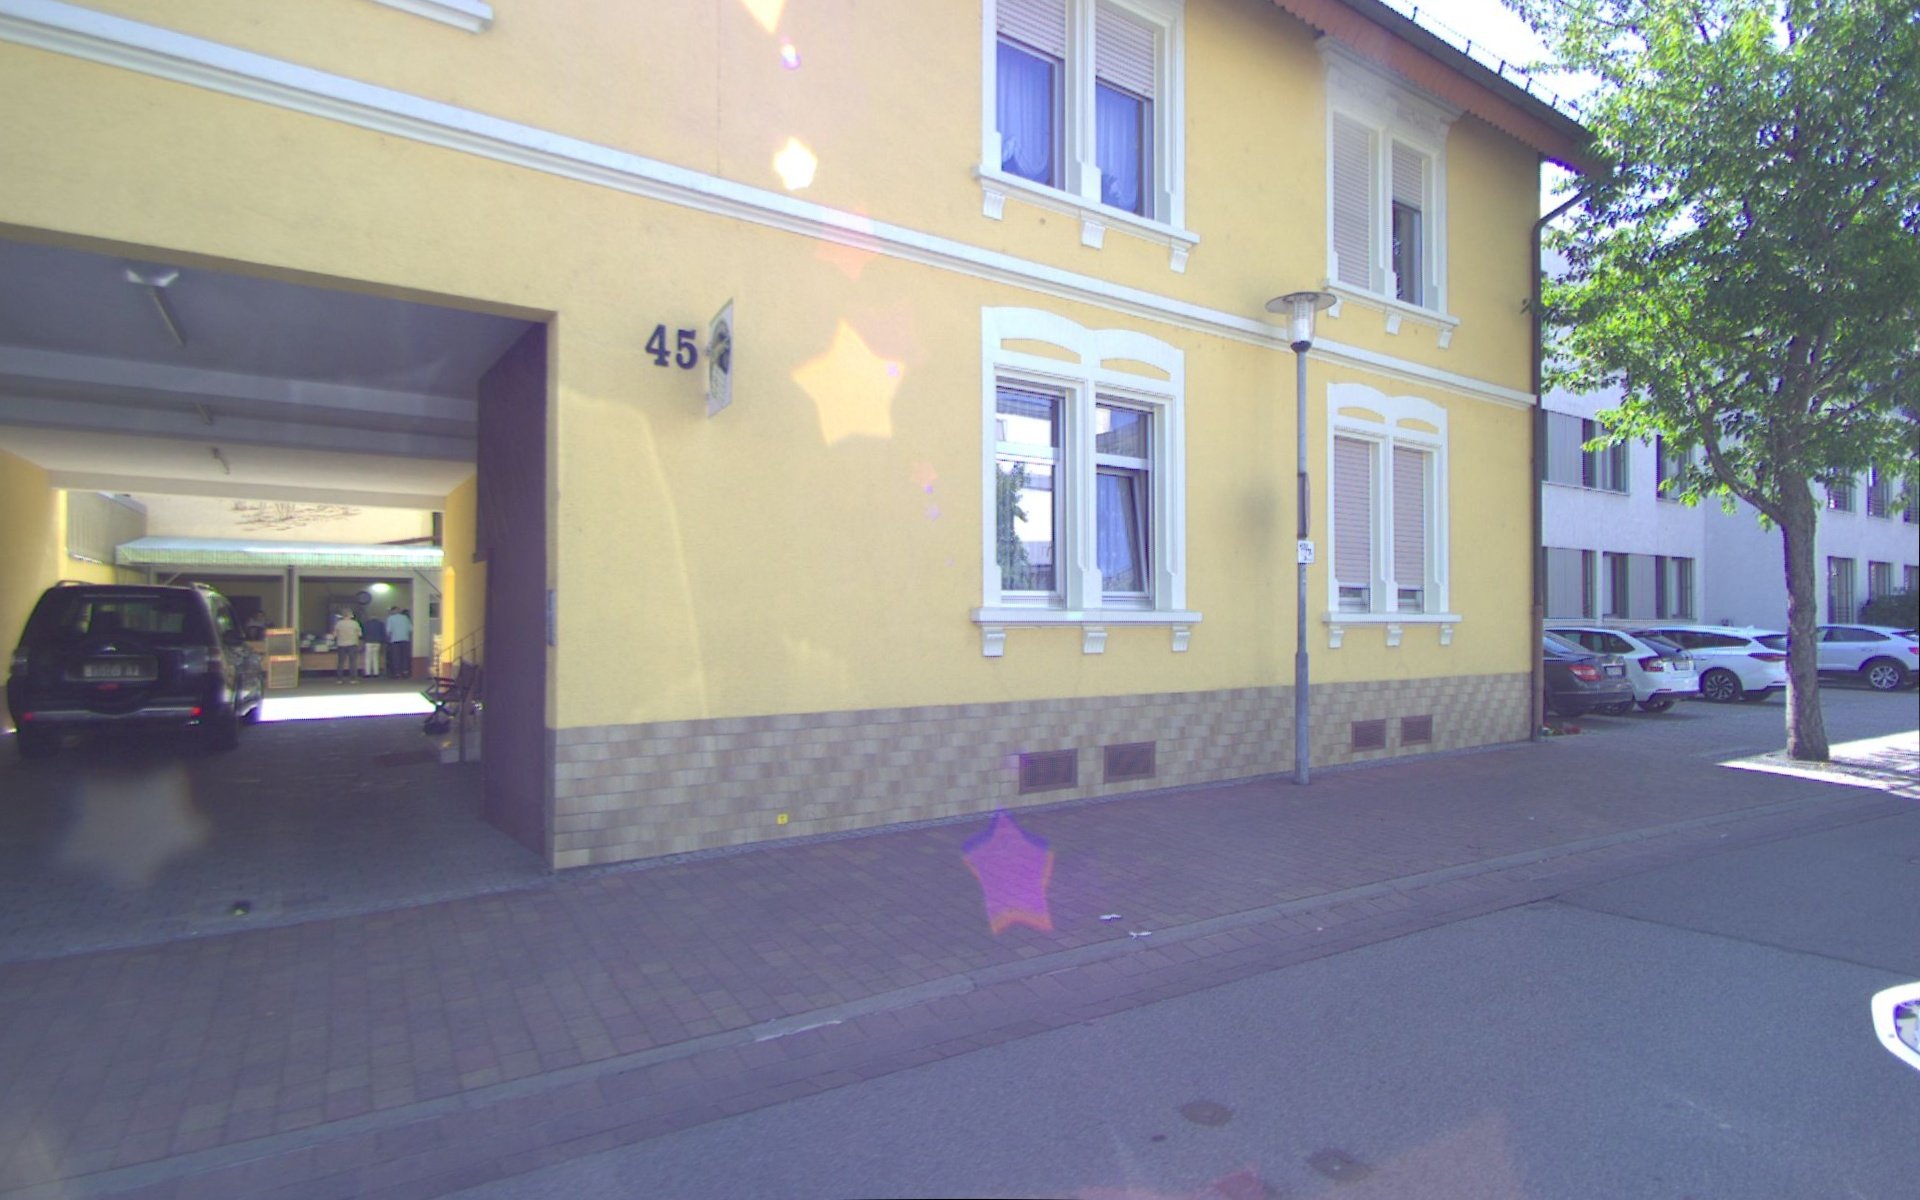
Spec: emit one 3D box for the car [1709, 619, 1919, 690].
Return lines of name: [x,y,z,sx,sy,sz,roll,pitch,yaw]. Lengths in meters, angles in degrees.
car: [21.950,1.311,25.333,2.125,1.575,4.480,1,-1,-33]

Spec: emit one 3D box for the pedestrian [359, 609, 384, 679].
pedestrian: [-14.126,1.057,24.118,0.496,1.648,0.440,1,-1,-31]

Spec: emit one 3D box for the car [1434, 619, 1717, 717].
car: [10.853,1.108,17.973,1.788,1.470,3.963,0,0,-33]

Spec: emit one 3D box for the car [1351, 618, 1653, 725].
car: [8.797,1.061,16.593,1.953,1.450,3.959,0,0,-36]

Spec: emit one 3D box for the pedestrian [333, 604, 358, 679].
pedestrian: [-13.639,0.914,22.300,0.443,1.648,0.440,1,-1,-31]

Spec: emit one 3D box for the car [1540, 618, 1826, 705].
car: [14.865,1.181,20.938,1.913,1.575,4.479,0,-1,-32]

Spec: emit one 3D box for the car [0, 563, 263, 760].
car: [-9.418,0.601,11.680,1.978,1.873,3.964,1,-1,-33]

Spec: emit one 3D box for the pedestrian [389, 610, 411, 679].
pedestrian: [-13.515,1.063,24.249,0.443,1.648,0.440,1,-1,-31]
